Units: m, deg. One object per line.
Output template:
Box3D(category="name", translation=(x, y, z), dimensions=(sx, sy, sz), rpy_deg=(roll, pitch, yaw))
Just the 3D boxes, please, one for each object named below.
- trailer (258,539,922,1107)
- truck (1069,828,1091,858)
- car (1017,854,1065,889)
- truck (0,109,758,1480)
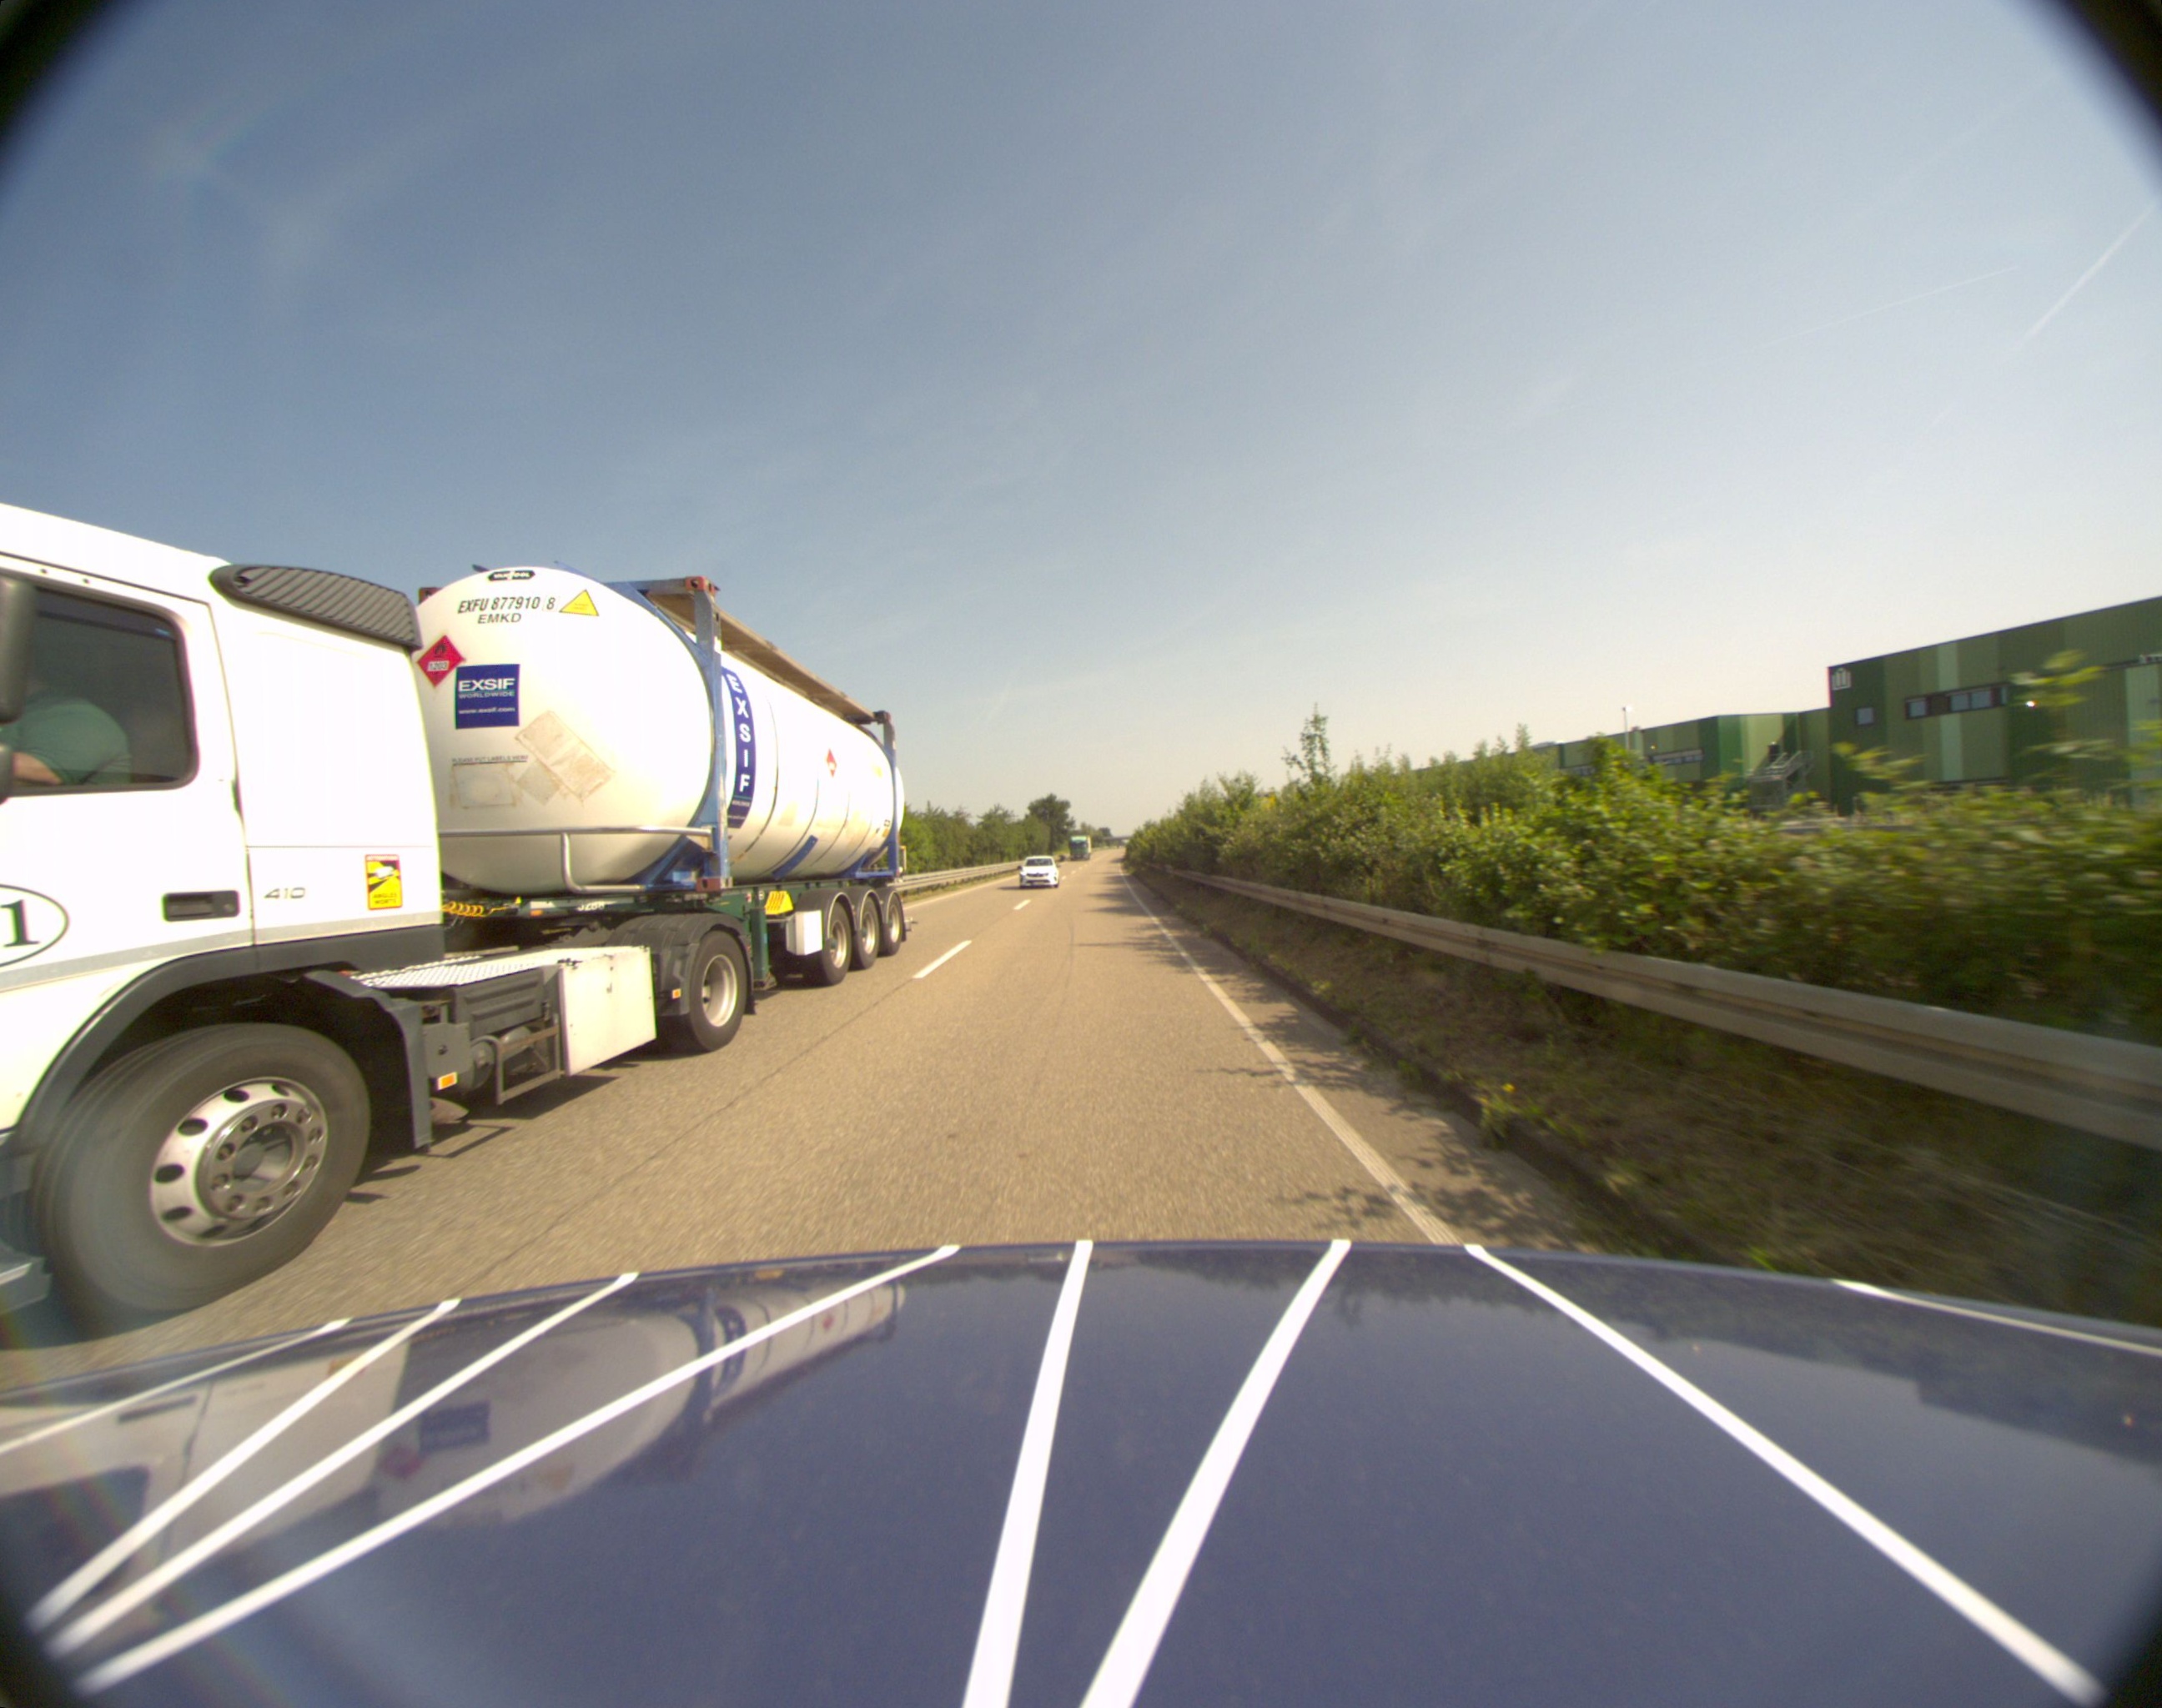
Box3D(category="trailer", translation=(-4.376, -0.222, 9.541), dimensions=(2.763, 3.968, 8.186), rpy_deg=(-2, 0, 1))
Box3D(category="truck", translation=(-0.112, -1.570, 110.774), dimensions=(2.548, 4.136, 8.440), rpy_deg=(-2, 1, 4))
Box3D(category="car", translation=(-1.794, 0.760, 35.494), dimensions=(1.789, 1.427, 4.000), rpy_deg=(-3, 0, 3))
Box3D(category="truck", translation=(-4.458, -0.177, 4.143), dimensions=(2.779, 3.938, 5.627), rpy_deg=(-2, 1, 1))
